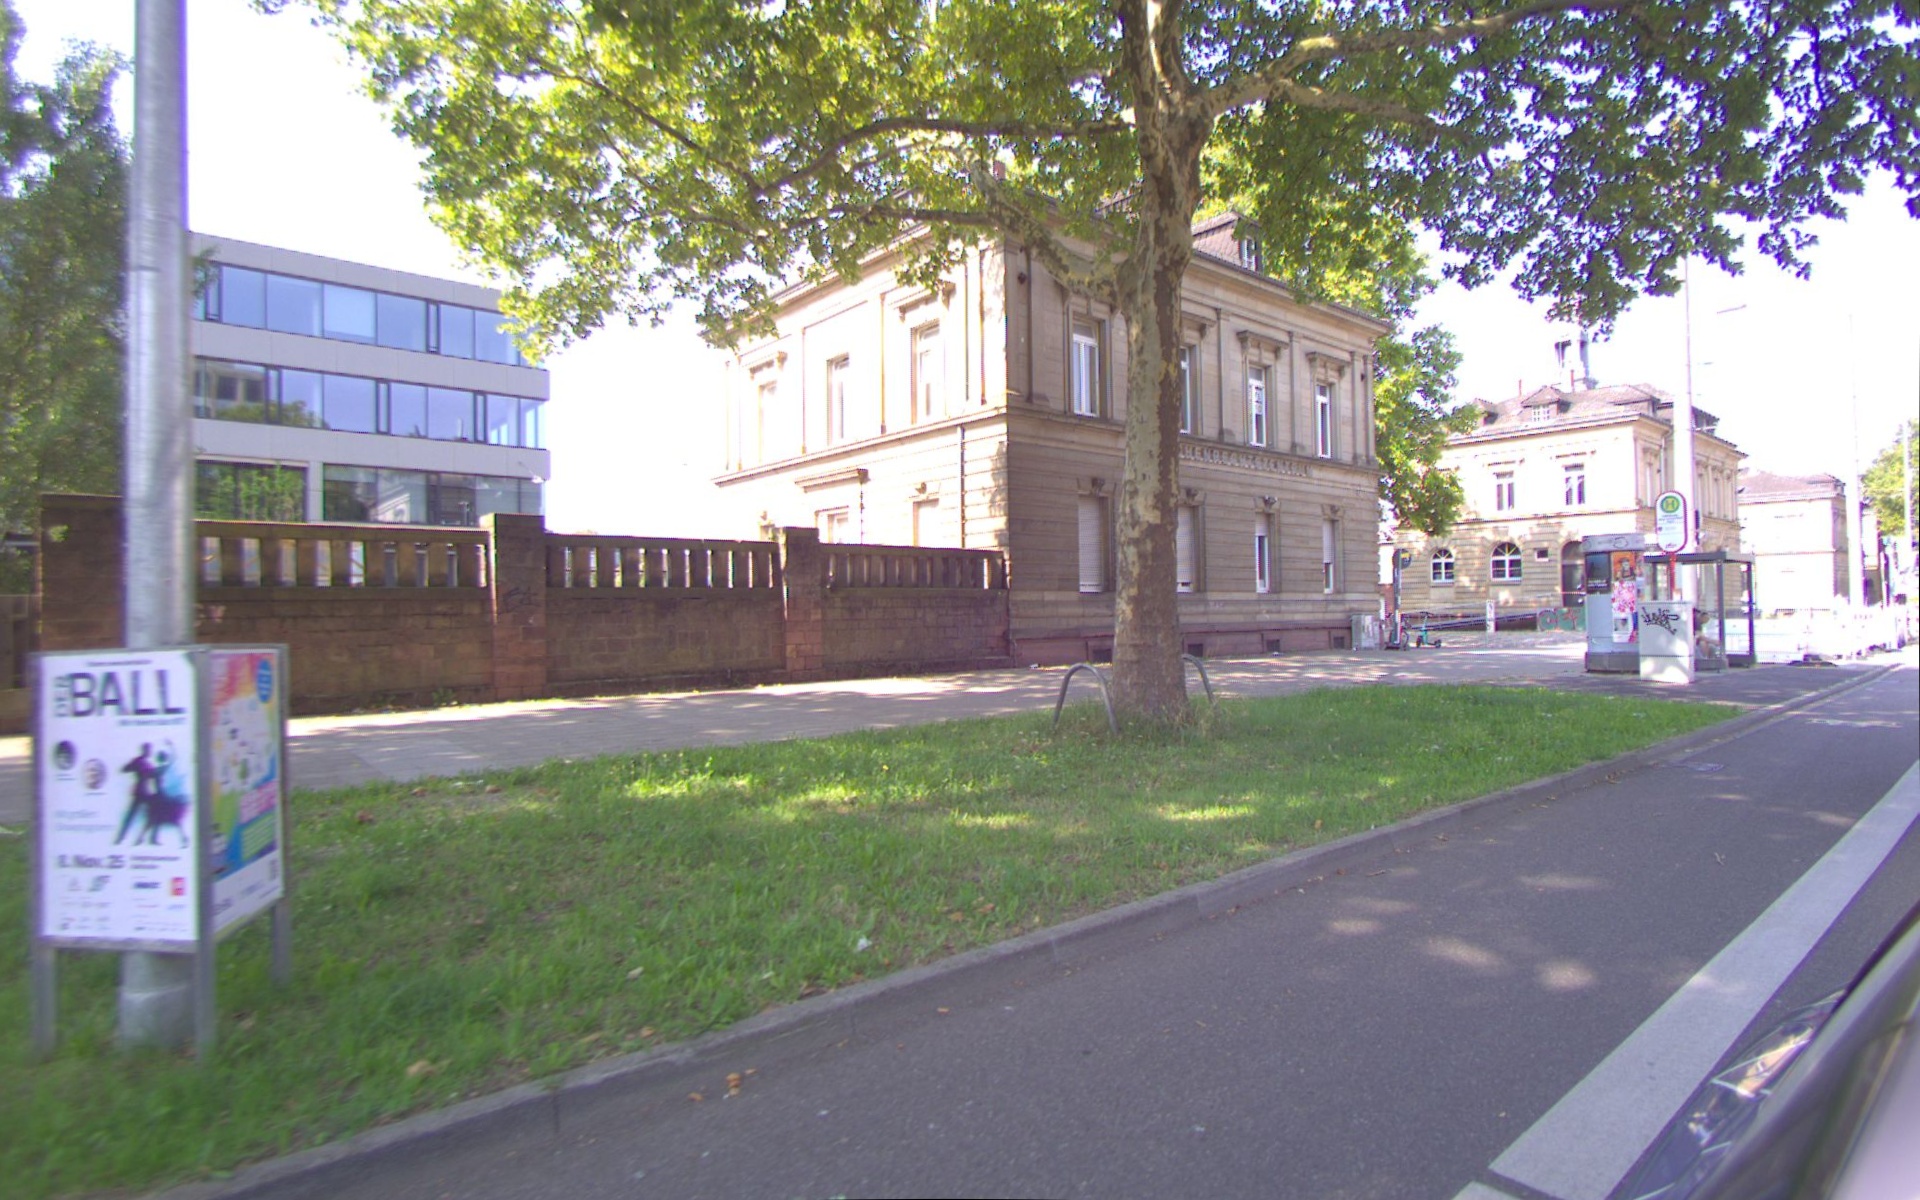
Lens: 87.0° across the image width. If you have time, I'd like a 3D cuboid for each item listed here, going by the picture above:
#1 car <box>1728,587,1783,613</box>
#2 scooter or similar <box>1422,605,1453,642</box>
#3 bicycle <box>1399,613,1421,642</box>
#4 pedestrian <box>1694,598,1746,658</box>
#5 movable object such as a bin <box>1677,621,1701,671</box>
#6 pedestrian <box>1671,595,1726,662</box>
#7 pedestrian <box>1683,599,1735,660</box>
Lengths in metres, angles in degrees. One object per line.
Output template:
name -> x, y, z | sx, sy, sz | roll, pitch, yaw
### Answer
car -> 60.114, 0.022, 76.472 | 4.140, 1.806, 1.911 | 2, -2, -30
scooter or similar -> 16.385, 0.798, 34.713 | 1.150, 1.244, 0.427 | 0, -1, -34
bicycle -> 16.146, 0.987, 36.293 | 0.488, 1.013, 1.798 | -1, -3, 30
pedestrian -> 16.769, 0.612, 22.325 | 0.601, 1.277, 0.742 | -1, -2, -41
movable object such as a bin -> 13.875, 0.867, 19.259 | 0.379, 0.927, 0.271 | 0, -2, -43
pedestrian -> 15.641, 0.600, 21.437 | 0.601, 1.383, 0.751 | -1, -2, -41
pedestrian -> 16.160, 0.631, 21.841 | 0.601, 1.277, 0.742 | -1, -2, -41
